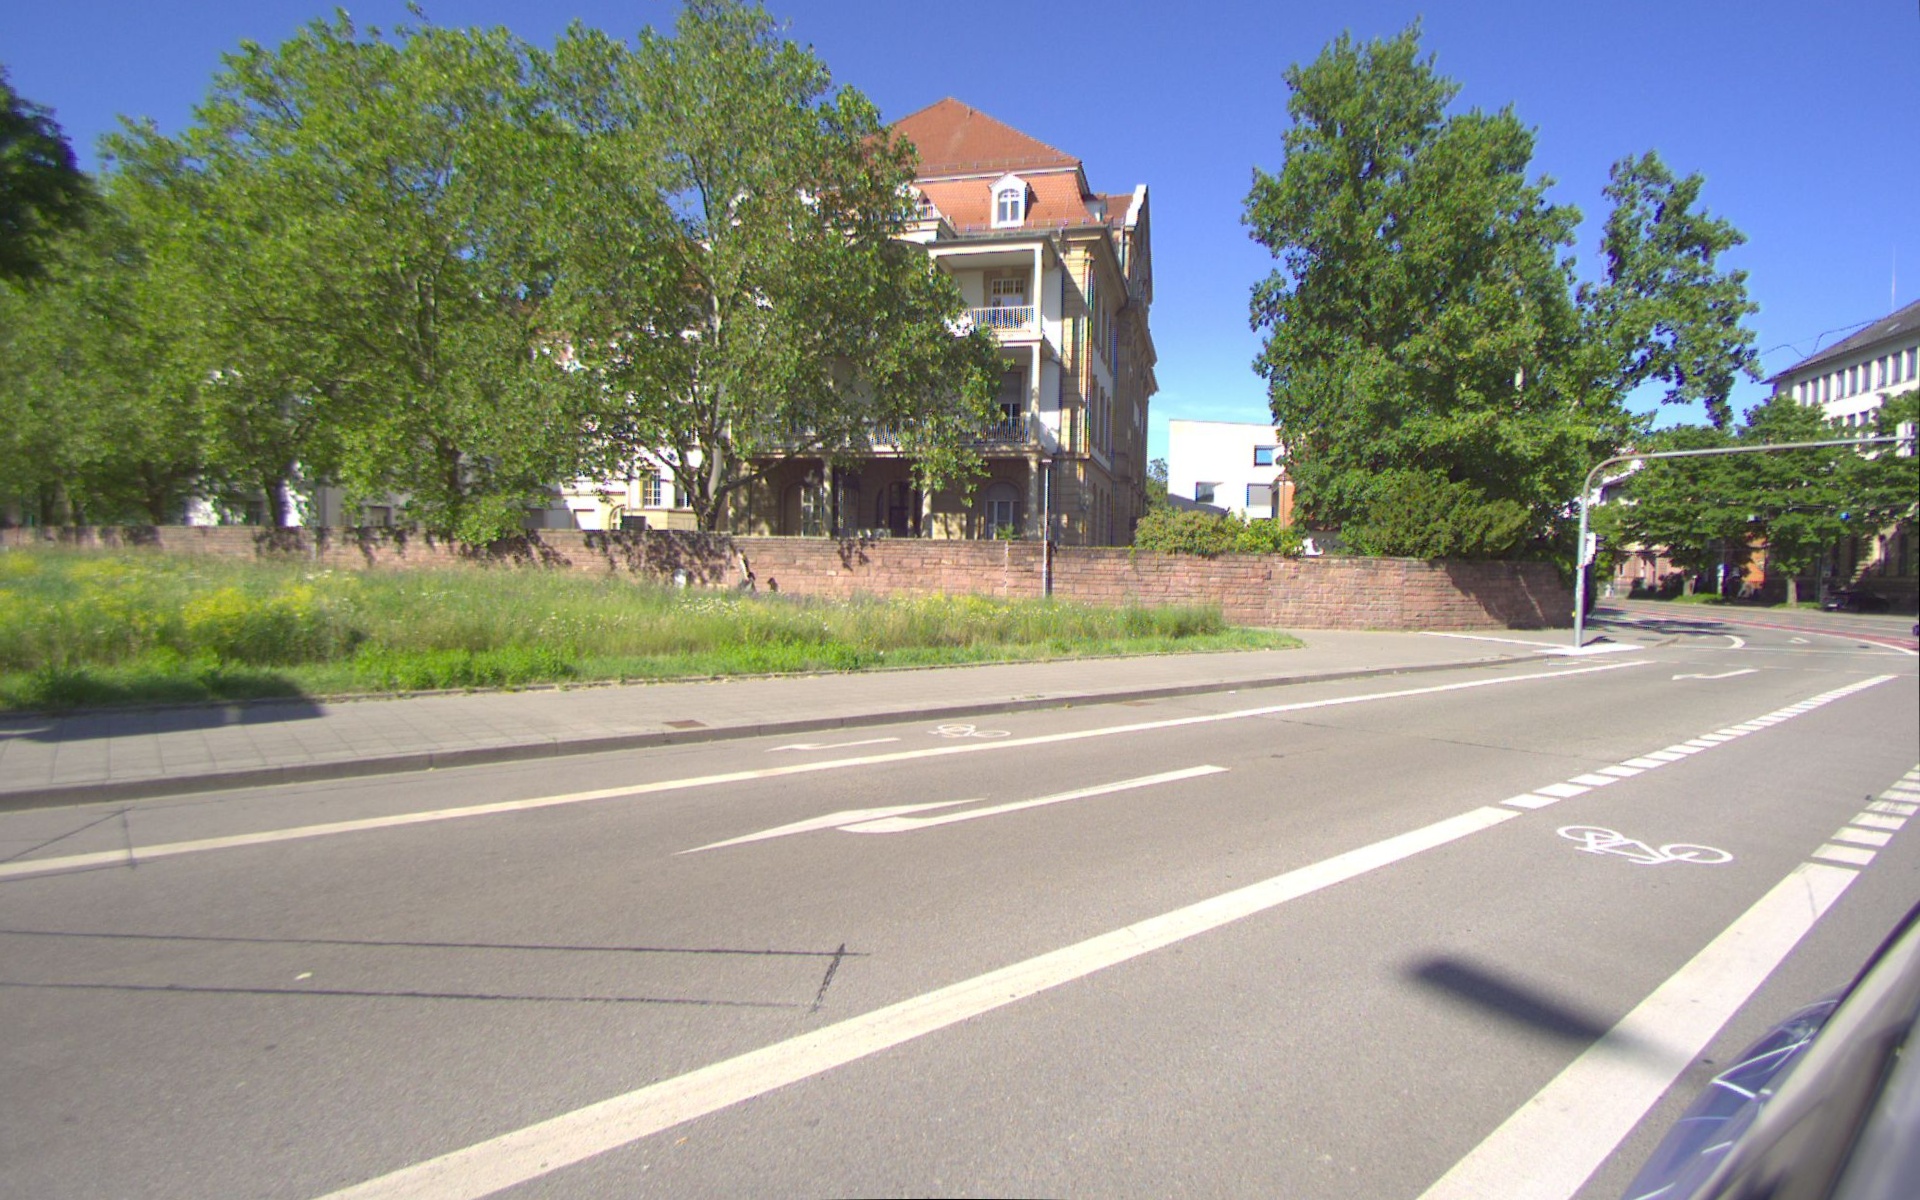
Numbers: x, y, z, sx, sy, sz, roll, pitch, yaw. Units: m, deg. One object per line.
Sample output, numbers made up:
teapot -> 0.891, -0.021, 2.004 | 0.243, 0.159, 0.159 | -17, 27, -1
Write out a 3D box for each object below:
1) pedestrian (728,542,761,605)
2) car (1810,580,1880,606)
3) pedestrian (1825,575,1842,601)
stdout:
pedestrian -> -6.566, -0.804, 30.857 | 0.776, 1.881, 0.627 | 2, 1, 17
car -> 60.296, -0.517, 69.031 | 1.806, 1.615, 3.988 | 2, 2, 11
pedestrian -> 64.642, -0.910, 74.875 | 0.568, 1.927, 0.781 | 1, 1, 12
